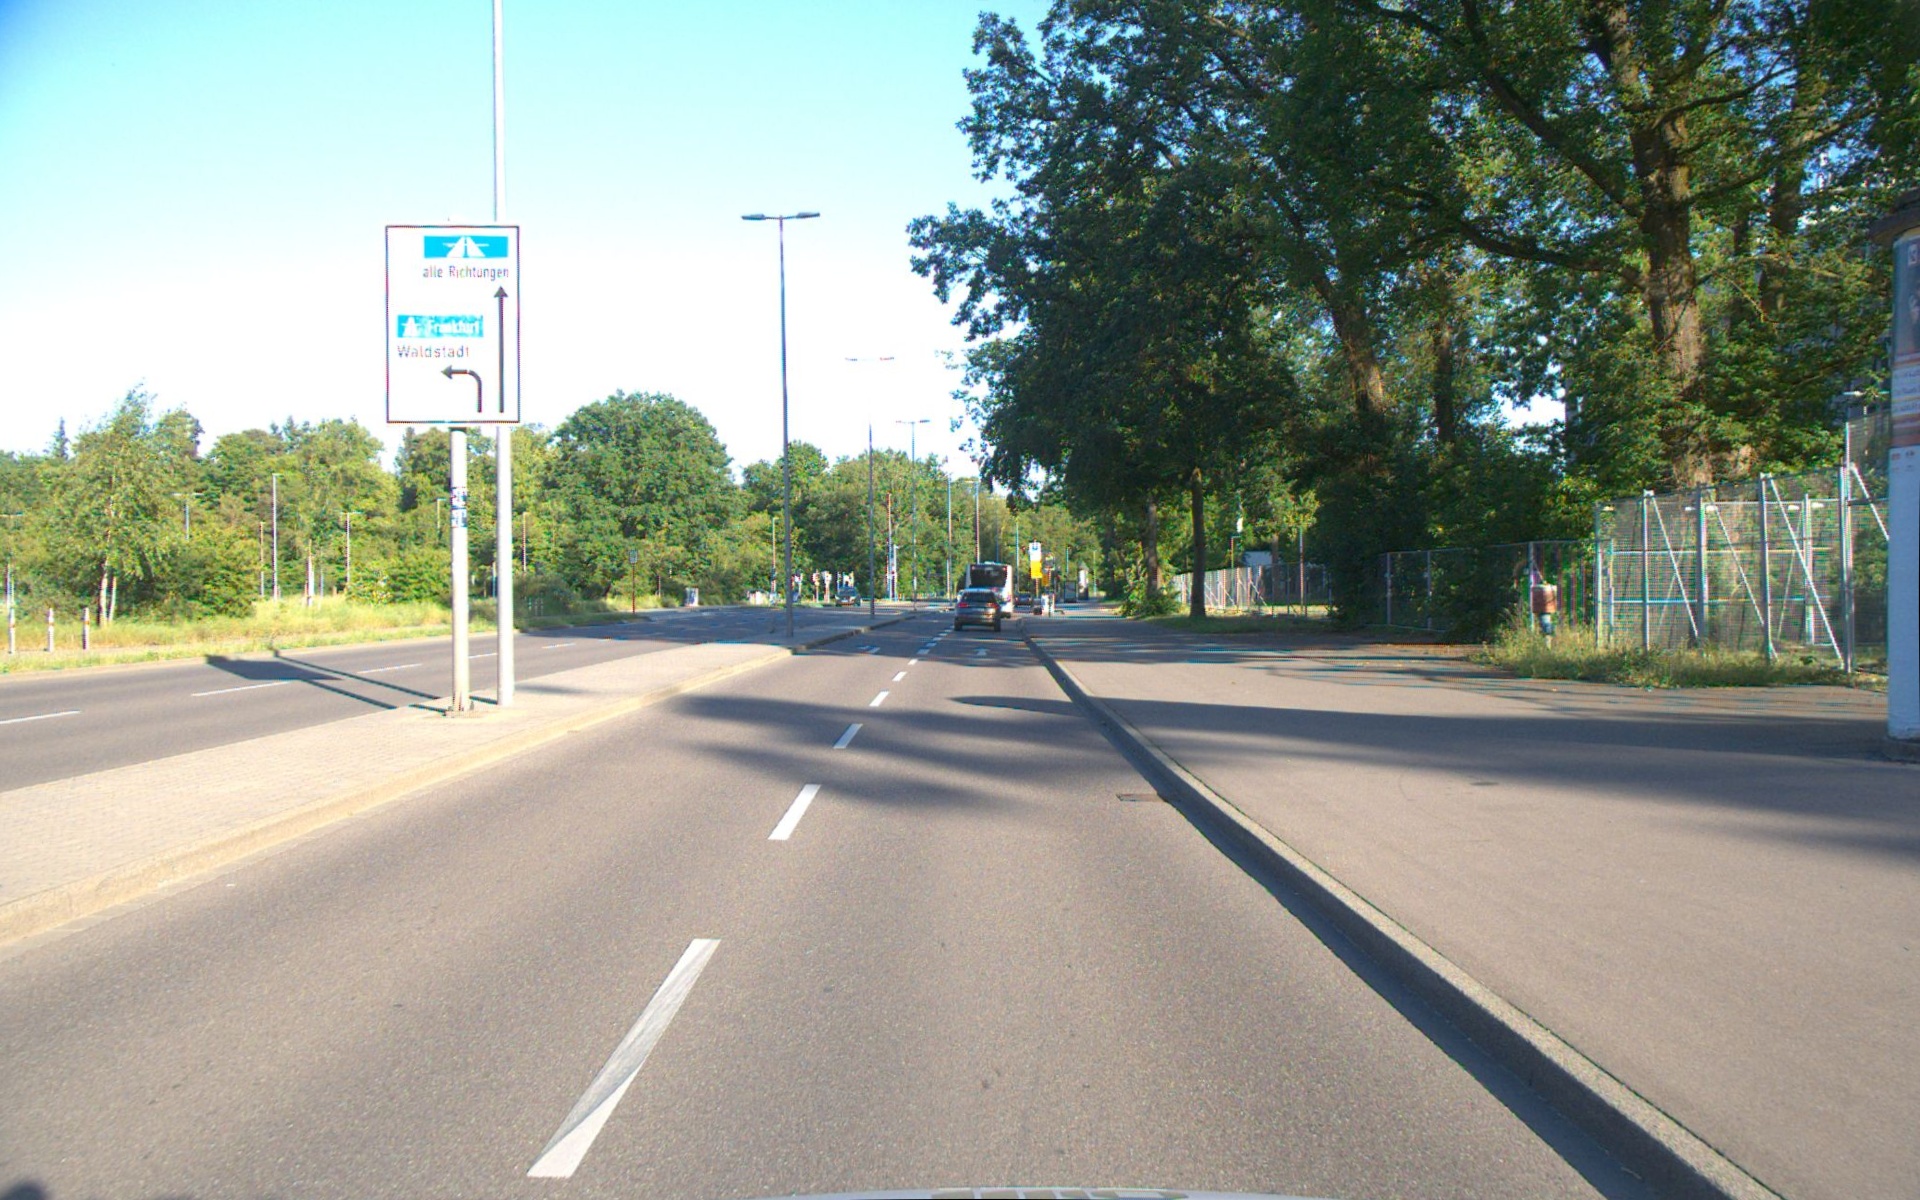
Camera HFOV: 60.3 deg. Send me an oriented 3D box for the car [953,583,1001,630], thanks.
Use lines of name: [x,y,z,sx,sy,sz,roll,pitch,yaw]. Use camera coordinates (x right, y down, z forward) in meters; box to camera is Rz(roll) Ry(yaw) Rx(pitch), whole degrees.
car: [0.650,0.245,66.450,1.842,1.796,4.000,-1,1,-1]

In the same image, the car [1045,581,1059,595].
car: [11.539,-1.529,207.666,1.559,1.633,3.584,1,0,1]

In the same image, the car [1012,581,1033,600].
car: [5.664,-0.878,150.259,1.824,1.713,3.774,-1,1,3]

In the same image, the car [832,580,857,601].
car: [-9.909,-0.823,142.100,1.825,1.713,3.772,-1,1,-1]

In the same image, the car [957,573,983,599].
car: [0.692,-1.047,121.711,1.842,1.796,4.000,-1,1,-1]

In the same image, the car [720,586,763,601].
car: [-20.729,-0.617,157.103,3.630,1.377,1.719,-2,1,-32]

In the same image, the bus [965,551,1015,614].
bus: [1.652,-1.009,93.579,2.552,3.427,7.974,0,1,-1]
